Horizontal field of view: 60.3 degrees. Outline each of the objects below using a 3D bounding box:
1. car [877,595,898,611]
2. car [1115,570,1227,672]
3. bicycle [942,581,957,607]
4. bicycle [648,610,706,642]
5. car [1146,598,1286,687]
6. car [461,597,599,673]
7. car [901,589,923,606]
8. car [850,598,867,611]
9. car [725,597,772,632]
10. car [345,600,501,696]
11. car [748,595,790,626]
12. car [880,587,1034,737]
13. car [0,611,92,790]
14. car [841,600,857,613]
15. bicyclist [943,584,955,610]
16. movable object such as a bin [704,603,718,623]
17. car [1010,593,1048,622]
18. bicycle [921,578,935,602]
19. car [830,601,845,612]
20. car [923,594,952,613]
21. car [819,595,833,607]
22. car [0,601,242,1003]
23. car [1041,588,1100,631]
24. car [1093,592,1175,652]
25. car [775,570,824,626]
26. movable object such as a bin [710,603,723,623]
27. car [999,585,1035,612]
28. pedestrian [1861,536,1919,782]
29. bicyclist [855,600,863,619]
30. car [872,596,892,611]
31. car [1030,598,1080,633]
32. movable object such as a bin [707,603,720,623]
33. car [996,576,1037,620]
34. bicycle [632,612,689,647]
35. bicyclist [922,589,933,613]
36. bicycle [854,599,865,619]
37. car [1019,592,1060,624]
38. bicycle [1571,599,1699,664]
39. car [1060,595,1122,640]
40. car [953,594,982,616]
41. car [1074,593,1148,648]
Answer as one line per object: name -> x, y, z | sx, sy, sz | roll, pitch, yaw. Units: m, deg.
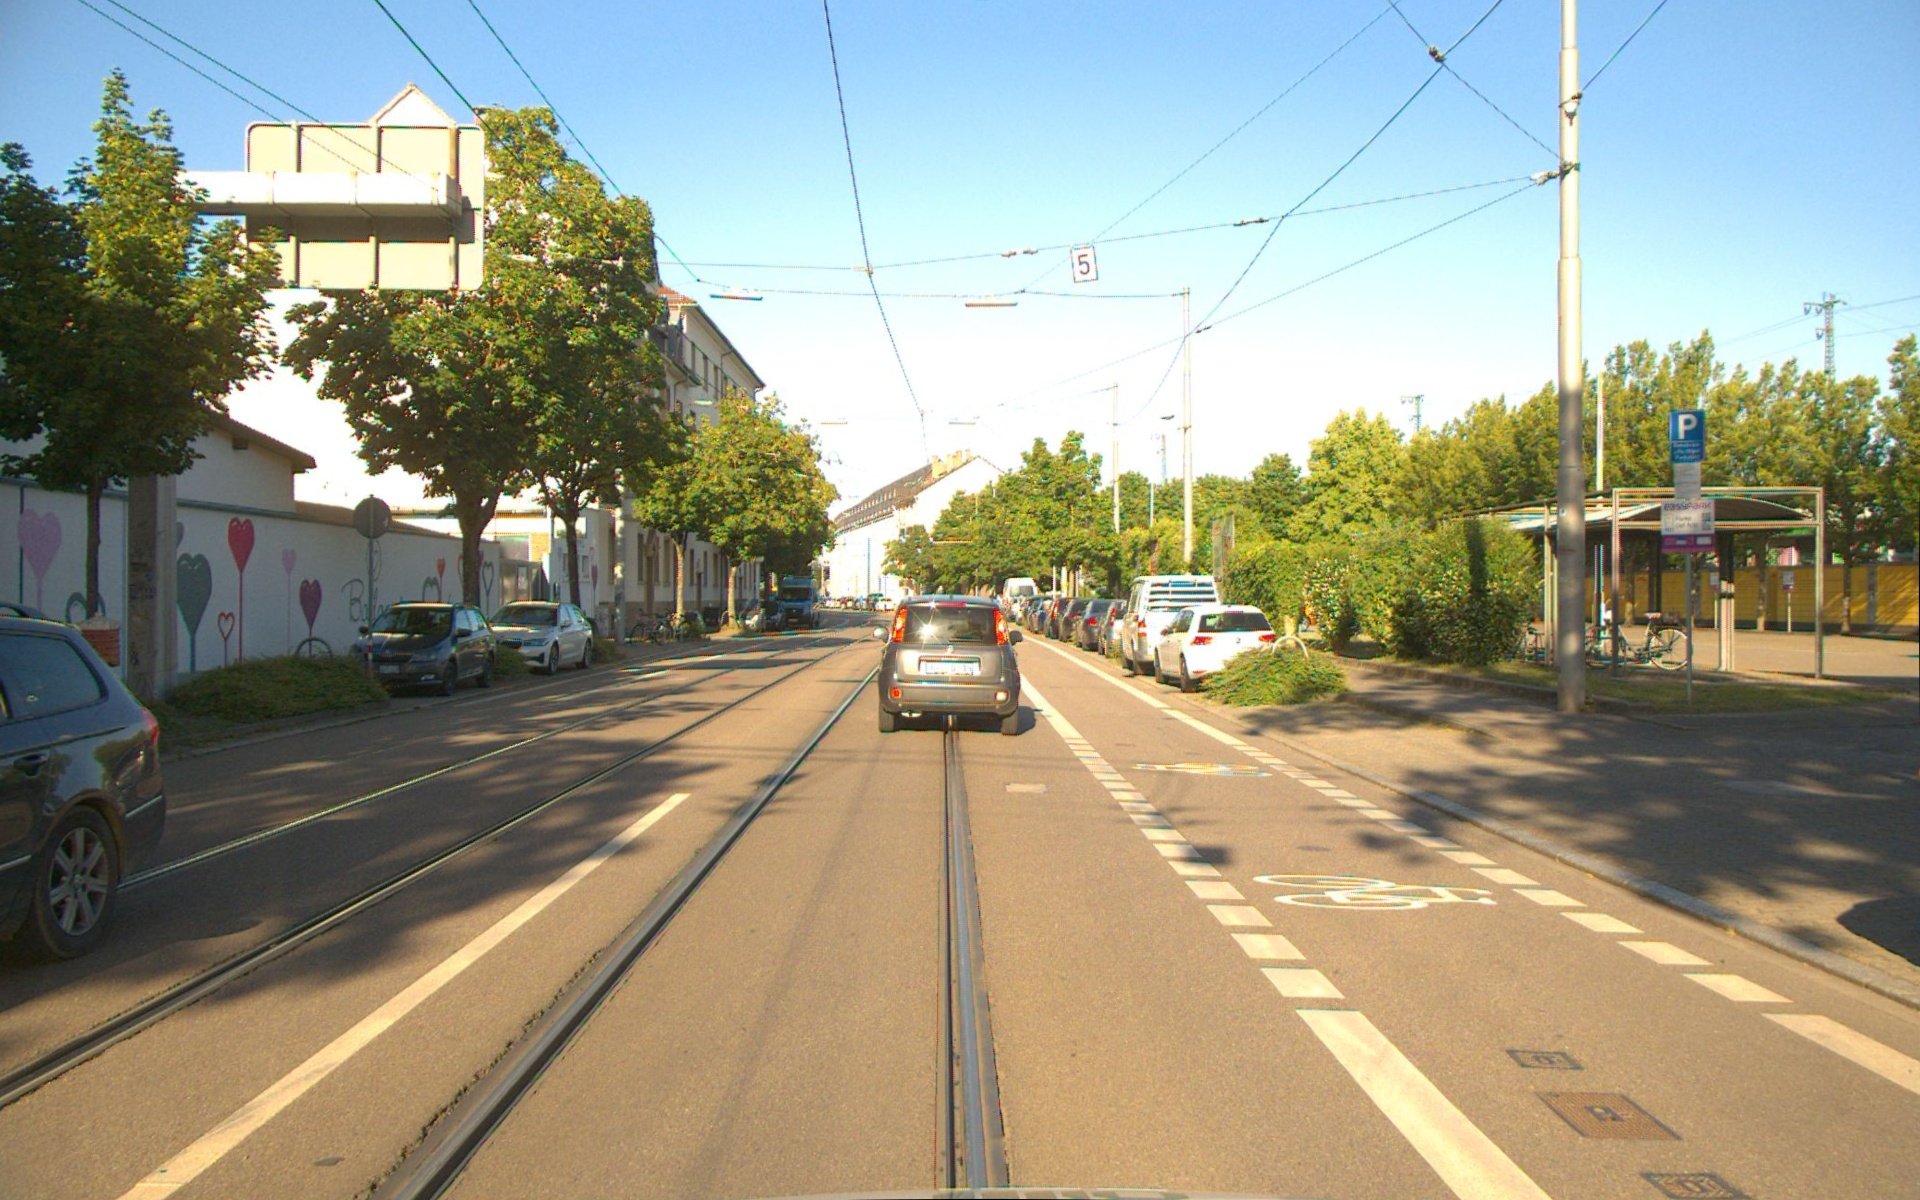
car -> -7.717, 0.305, 175.902 | 1.626, 1.599, 3.489 | 1, 0, -11
car -> 4.445, 0.422, 35.521 | 1.816, 2.026, 5.242 | 0, 0, 1
bicycle -> -0.742, -0.423, 115.807 | 0.663, 1.777, 2.151 | 1, 0, -11
bicycle -> -9.453, 0.864, 55.340 | 0.523, 1.058, 1.974 | 0, 0, 43
car -> 4.566, 0.717, 30.121 | 1.642, 1.442, 4.500 | -2, 0, -2
car -> -9.262, 0.725, 36.033 | 1.826, 1.516, 4.660 | 1, 0, -1
car -> -4.581, -0.210, 157.796 | 1.606, 1.534, 3.389 | -3, 0, -10
car -> -12.059, 0.498, 196.412 | 1.626, 1.526, 3.121 | 1, 0, -11
car -> -9.598, 0.659, 75.170 | 1.617, 1.517, 4.000 | 1, 0, 0
car -> -9.118, 0.767, 28.436 | 1.739, 1.512, 4.298 | 1, 0, -7
car -> -9.386, 0.497, 81.493 | 1.617, 1.450, 4.189 | 1, 0, 0
car -> -0.062, 0.664, 19.876 | 1.616, 1.568, 4.234 | 1, 0, -1
car -> -8.788, 0.816, 12.839 | 1.835, 1.454, 4.292 | 1, 0, 0
car -> -13.810, 0.793, 205.688 | 1.555, 1.429, 3.367 | -4, 1, -11
bicyclist -> -0.753, -0.211, 115.754 | 0.687, 1.790, 0.755 | 1, 0, -12
movable object such as a bin -> -12.102, 0.642, 80.434 | 0.584, 0.951, 0.568 | -1, 0, -3
car -> 3.776, 0.430, 91.305 | 1.693, 1.539, 4.249 | 1, 0, -3
bicycle -> -2.387, -0.768, 124.080 | 0.663, 1.777, 2.151 | 1, 0, -11
car -> -16.058, 0.805, 216.923 | 1.555, 1.430, 3.367 | 1, 0, -11
car -> -1.953, 0.281, 142.905 | 1.660, 1.557, 3.987 | -2, 0, -13
car -> -18.729, 0.112, 230.654 | 1.555, 1.627, 3.367 | 1, 0, -11
car -> -4.453, 0.761, 5.653 | 1.729, 1.489, 4.749 | -1, 0, 3
car -> 4.196, 0.344, 63.199 | 1.788, 1.519, 3.813 | -2, 0, -2
car -> 4.587, 0.578, 44.128 | 1.834, 1.498, 4.076 | 1, 0, 1
car -> -8.614, -0.093, 89.319 | 1.976, 2.875, 6.032 | 1, 0, 0
movable object such as a bin -> -12.178, 0.648, 82.830 | 0.584, 0.951, 0.568 | -1, 0, -3
car -> 3.438, -0.090, 100.426 | 1.872, 1.556, 4.599 | -1, 0, -2
pedestrian -> 7.397, 0.422, 12.199 | 0.657, 1.820, 1.304 | -4, 0, -1
bicyclist -> -10.752, 1.041, 176.665 | 0.702, 2.049, 0.829 | 1, 0, -12
car -> -8.545, 0.340, 179.926 | 1.626, 1.599, 3.865 | 1, 0, -11
car -> 4.113, 0.665, 72.316 | 1.693, 1.489, 4.338 | 1, 0, -3
movable object such as a bin -> -12.062, 0.644, 81.029 | 0.584, 0.951, 0.568 | -1, 0, -3
car -> 3.607, -0.113, 107.261 | 2.136, 2.712, 6.088 | -2, 0, -2
bicycle -> -9.343, 0.923, 51.667 | 0.656, 1.058, 1.779 | 1, 0, 36
bicyclist -> -2.419, 0.048, 124.029 | 0.687, 1.790, 0.755 | 1, 0, -12
bicycle -> -10.739, 0.961, 176.680 | 0.728, 2.049, 2.804 | 1, 0, -11
car -> 4.132, 0.401, 86.533 | 1.693, 1.632, 4.339 | 1, 0, -3
bicycle -> 11.071, 0.511, 27.170 | 1.856, 1.026, 0.577 | 1, 0, 12
car -> 4.486, 0.596, 57.162 | 1.787, 1.477, 4.641 | 0, 0, 0
car -> 0.537, 0.390, 126.372 | 1.657, 1.557, 3.993 | -2, 0, -7
car -> 4.403, 0.579, 48.821 | 1.787, 1.510, 4.601 | 1, 0, 0
